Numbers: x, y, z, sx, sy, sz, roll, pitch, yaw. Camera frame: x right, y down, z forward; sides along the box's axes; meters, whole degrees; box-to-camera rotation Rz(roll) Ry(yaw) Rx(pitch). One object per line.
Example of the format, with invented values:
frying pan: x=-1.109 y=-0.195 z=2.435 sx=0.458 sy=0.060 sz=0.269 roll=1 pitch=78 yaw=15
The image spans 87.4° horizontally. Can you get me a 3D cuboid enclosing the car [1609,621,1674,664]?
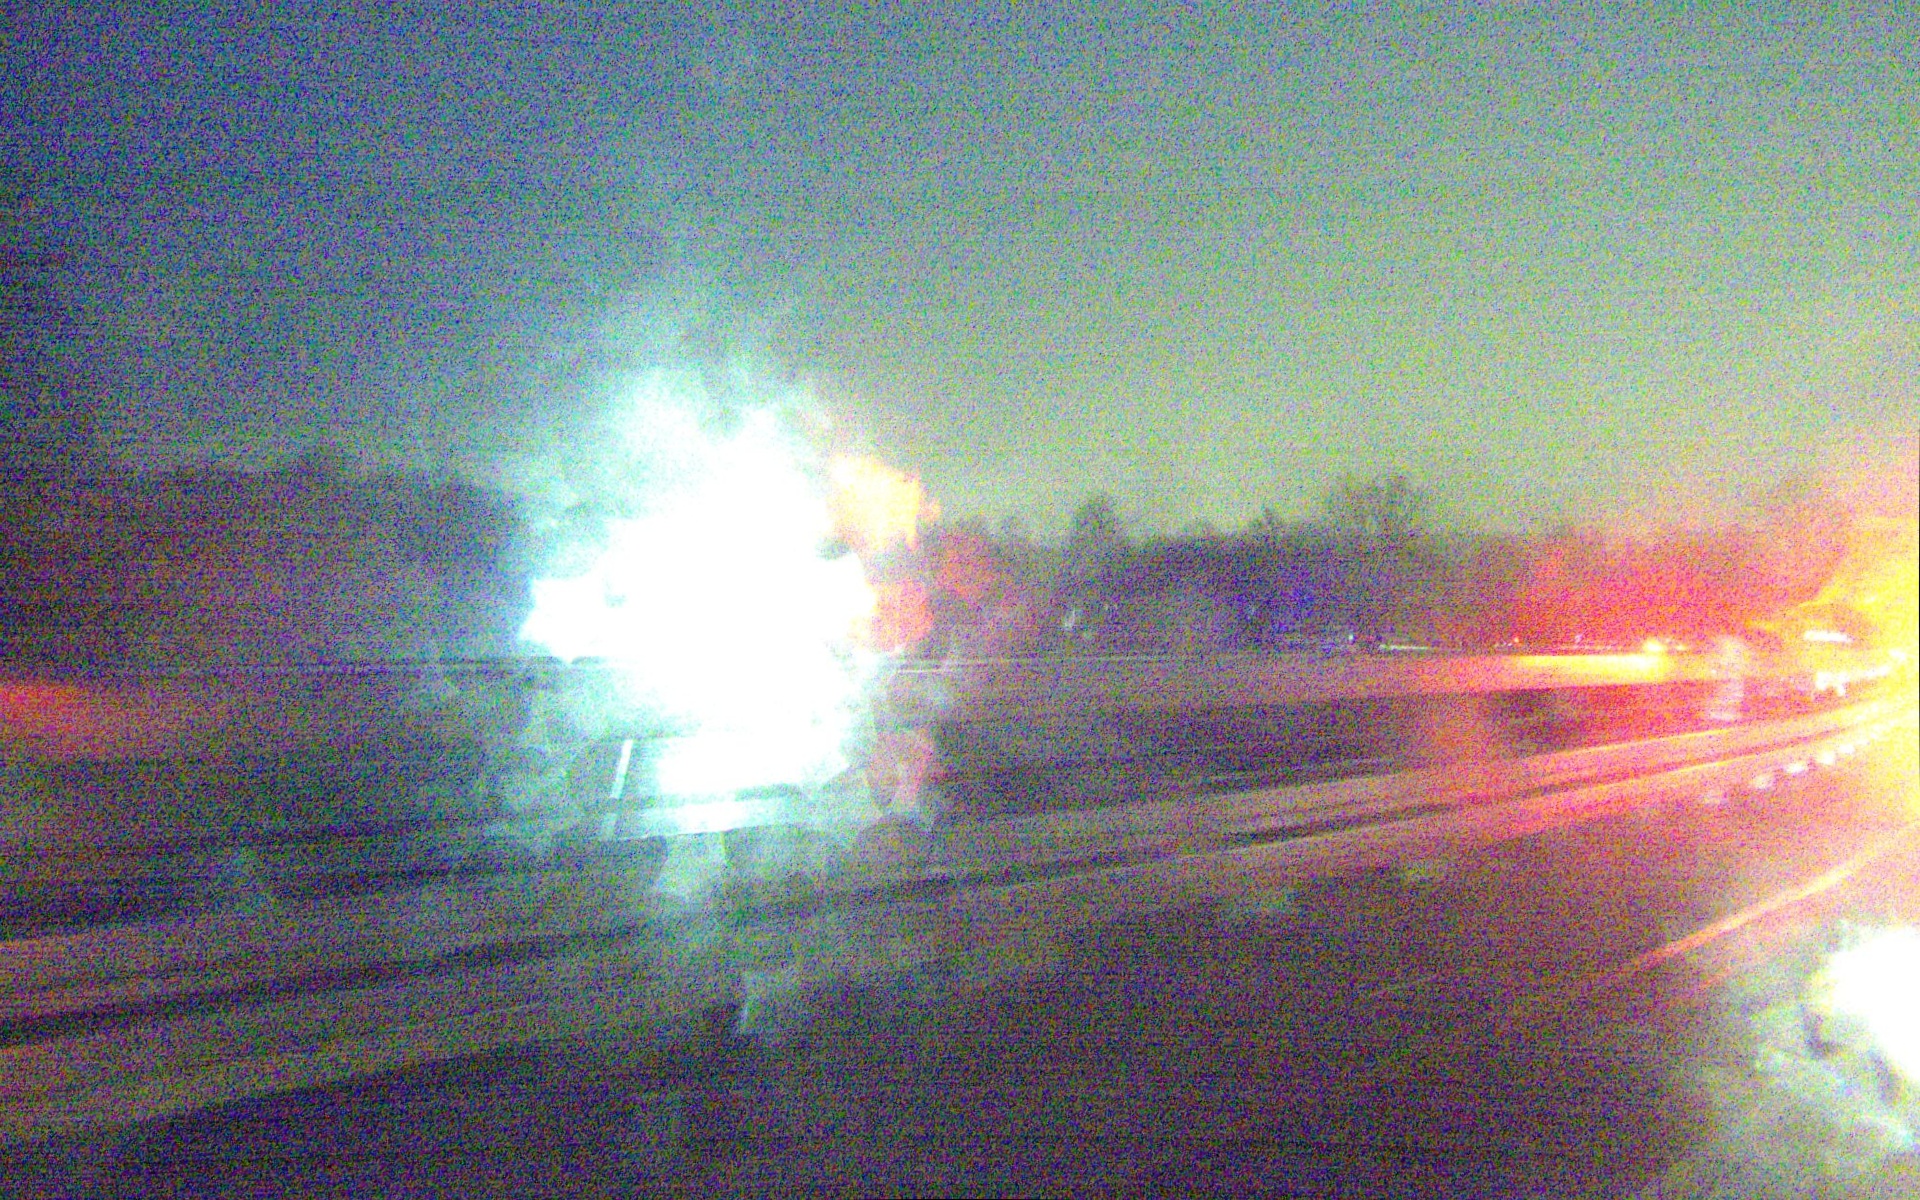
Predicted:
car: x=35.474 y=2.181 z=52.381 sx=1.864 sy=2.024 sz=4.044 roll=2 pitch=0 yaw=21

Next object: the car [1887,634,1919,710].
car: x=24.622 y=1.781 z=24.983 sx=1.871 sy=1.743 sz=4.029 roll=2 pitch=0 yaw=38

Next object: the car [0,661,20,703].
car: x=-43.167 y=3.520 z=42.966 sx=1.897 sy=1.775 sz=4.220 roll=0 pitch=-3 yaw=44

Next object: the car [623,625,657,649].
car: x=-26.533 y=3.084 z=83.295 sx=1.690 sy=1.786 sz=3.829 roll=0 pitch=-4 yaw=-3

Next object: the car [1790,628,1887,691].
car: x=32.296 y=2.124 z=37.048 sx=1.867 sy=2.067 sz=4.038 roll=2 pitch=0 yaw=29
